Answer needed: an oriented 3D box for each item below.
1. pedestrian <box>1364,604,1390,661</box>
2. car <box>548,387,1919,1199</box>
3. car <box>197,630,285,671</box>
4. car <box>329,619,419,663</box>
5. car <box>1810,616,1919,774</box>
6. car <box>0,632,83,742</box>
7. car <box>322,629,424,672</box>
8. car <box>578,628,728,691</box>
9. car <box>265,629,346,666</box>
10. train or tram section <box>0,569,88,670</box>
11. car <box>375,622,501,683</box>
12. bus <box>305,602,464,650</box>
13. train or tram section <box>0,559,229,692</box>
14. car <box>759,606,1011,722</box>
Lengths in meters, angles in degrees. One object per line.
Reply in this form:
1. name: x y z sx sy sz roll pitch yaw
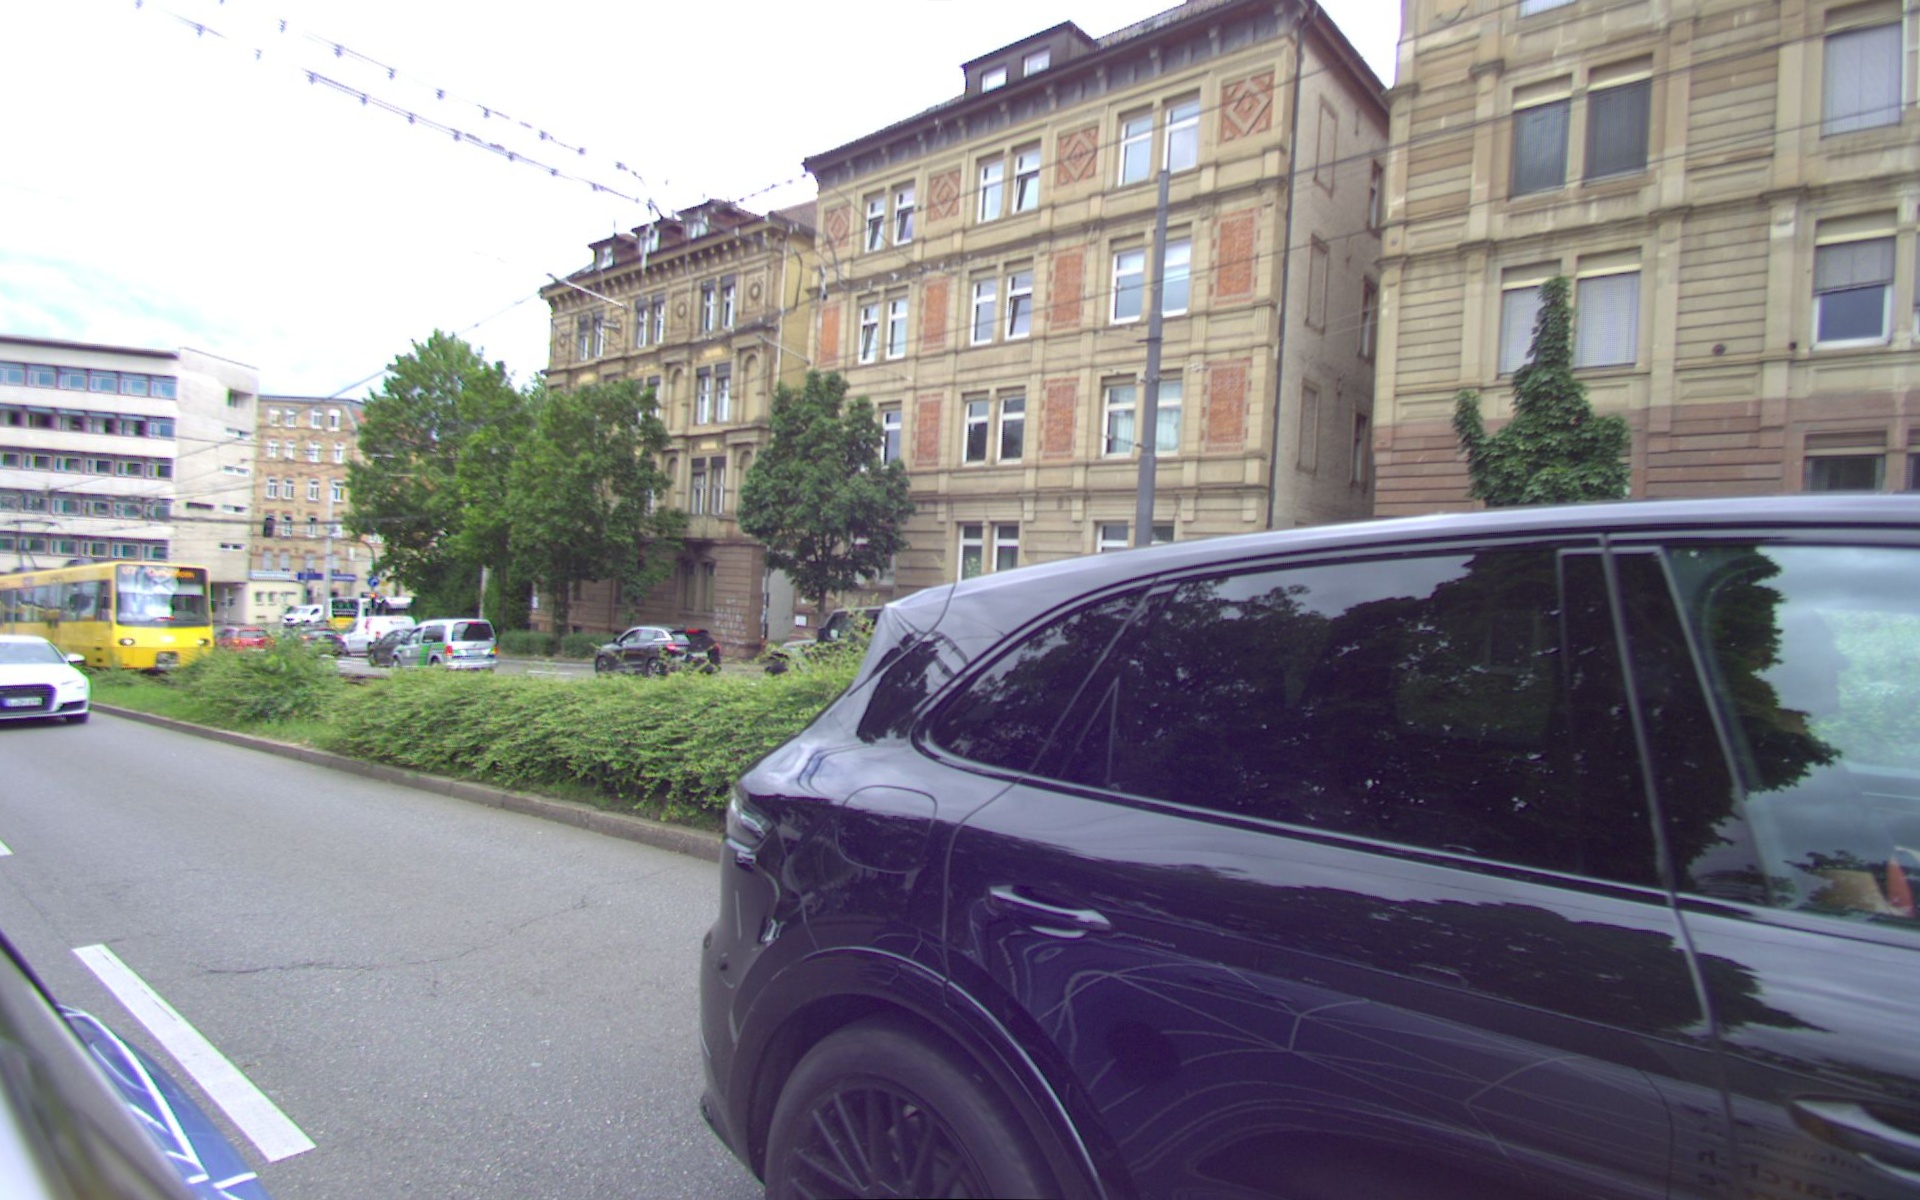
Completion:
1. pedestrian: 12.279 0.962 29.800 0.559 1.666 0.615 -2 -3 39
2. car: 1.514 0.686 1.572 4.778 1.698 2.007 0 -1 40
3. car: -31.371 2.144 44.109 4.400 1.530 1.974 0 1 39
4. car: -27.526 1.902 47.497 4.988 1.863 1.974 -1 1 39
5. car: 10.672 0.909 9.502 4.062 1.499 1.723 -1 -2 39
6. car: -16.071 1.376 16.800 4.532 1.486 1.871 1 1 44
7. car: -22.672 1.981 39.003 4.942 1.461 1.801 -4 -2 40
8. car: -8.574 1.596 28.128 4.433 1.566 1.846 -1 -1 39
9. car: -29.555 2.124 45.646 4.400 1.437 1.726 1 1 38
10. train or tram section: -40.823 0.701 41.261 14.157 3.691 2.865 0 0 27
11. car: -16.489 1.636 31.860 4.512 1.801 1.860 -2 -4 40
12. bus: -39.773 1.699 70.664 3.350 3.052 11.519 -1 -1 8
13. train or tram section: -28.769 0.687 33.654 14.446 3.691 2.856 0 1 36
14. car: -1.479 1.111 18.720 4.637 1.890 1.880 -2 -2 39
